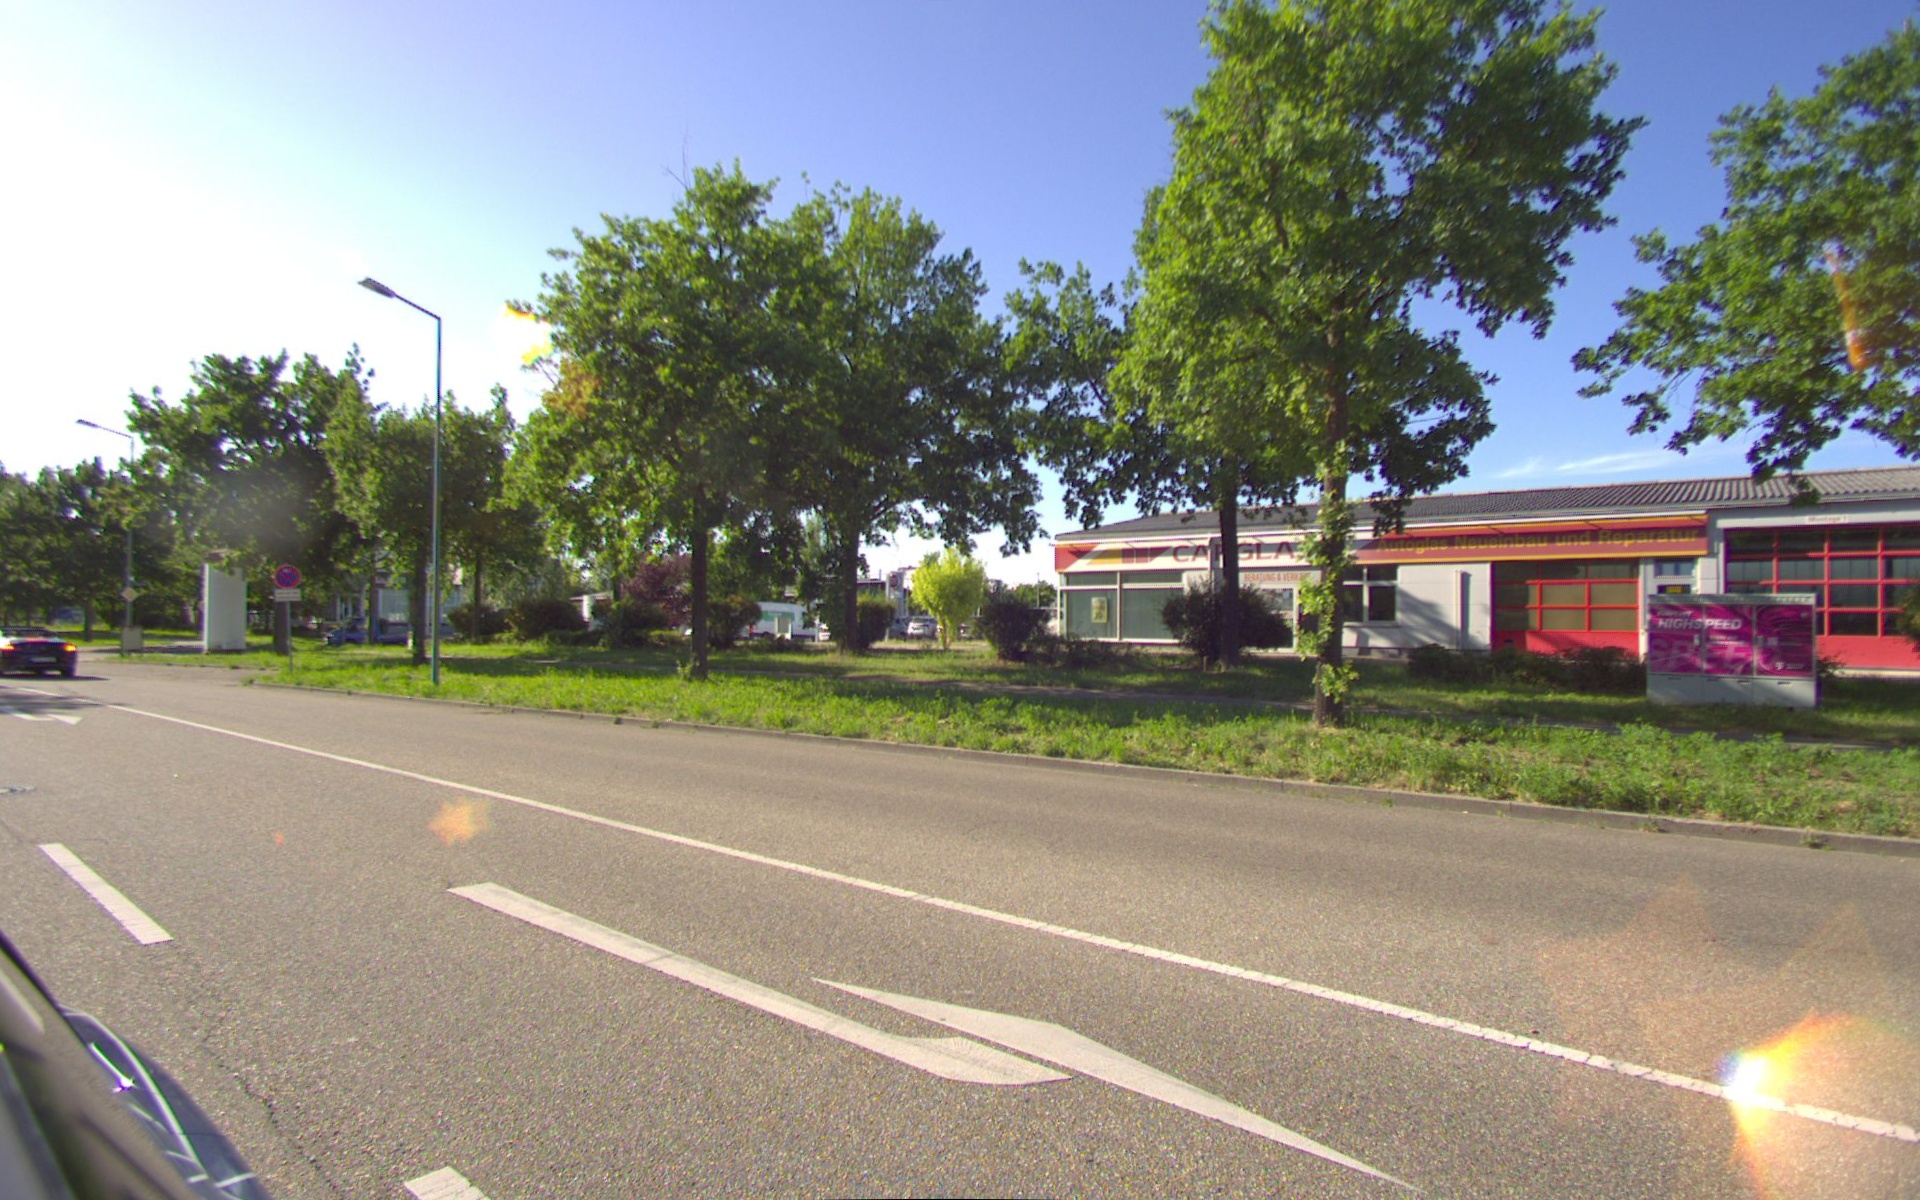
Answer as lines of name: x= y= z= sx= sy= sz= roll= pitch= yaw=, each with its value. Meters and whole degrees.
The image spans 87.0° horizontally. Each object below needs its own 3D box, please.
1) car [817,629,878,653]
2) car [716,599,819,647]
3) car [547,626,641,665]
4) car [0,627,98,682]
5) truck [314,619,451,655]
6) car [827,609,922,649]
car: x=-6.463 y=2.359 z=58.416 sx=1.572 sy=1.312 sz=3.489 roll=-1 pitch=-1 yaw=38
car: x=-11.452 y=1.321 z=60.648 sx=2.297 sy=2.723 sz=6.102 roll=0 pitch=0 yaw=37
car: x=-26.641 y=3.260 z=73.975 sx=2.297 sy=2.535 sz=6.280 roll=0 pitch=0 yaw=37
car: x=-26.183 y=1.524 z=28.421 sx=4.579 sy=1.414 sz=1.975 roll=-1 pitch=-5 yaw=37
truck: x=-35.364 y=2.252 z=62.219 sx=2.138 sy=2.065 sz=7.043 roll=0 pitch=-2 yaw=38
car: x=-4.680 y=1.604 z=56.133 sx=2.297 sy=2.085 sz=5.359 roll=-1 pitch=-2 yaw=37
